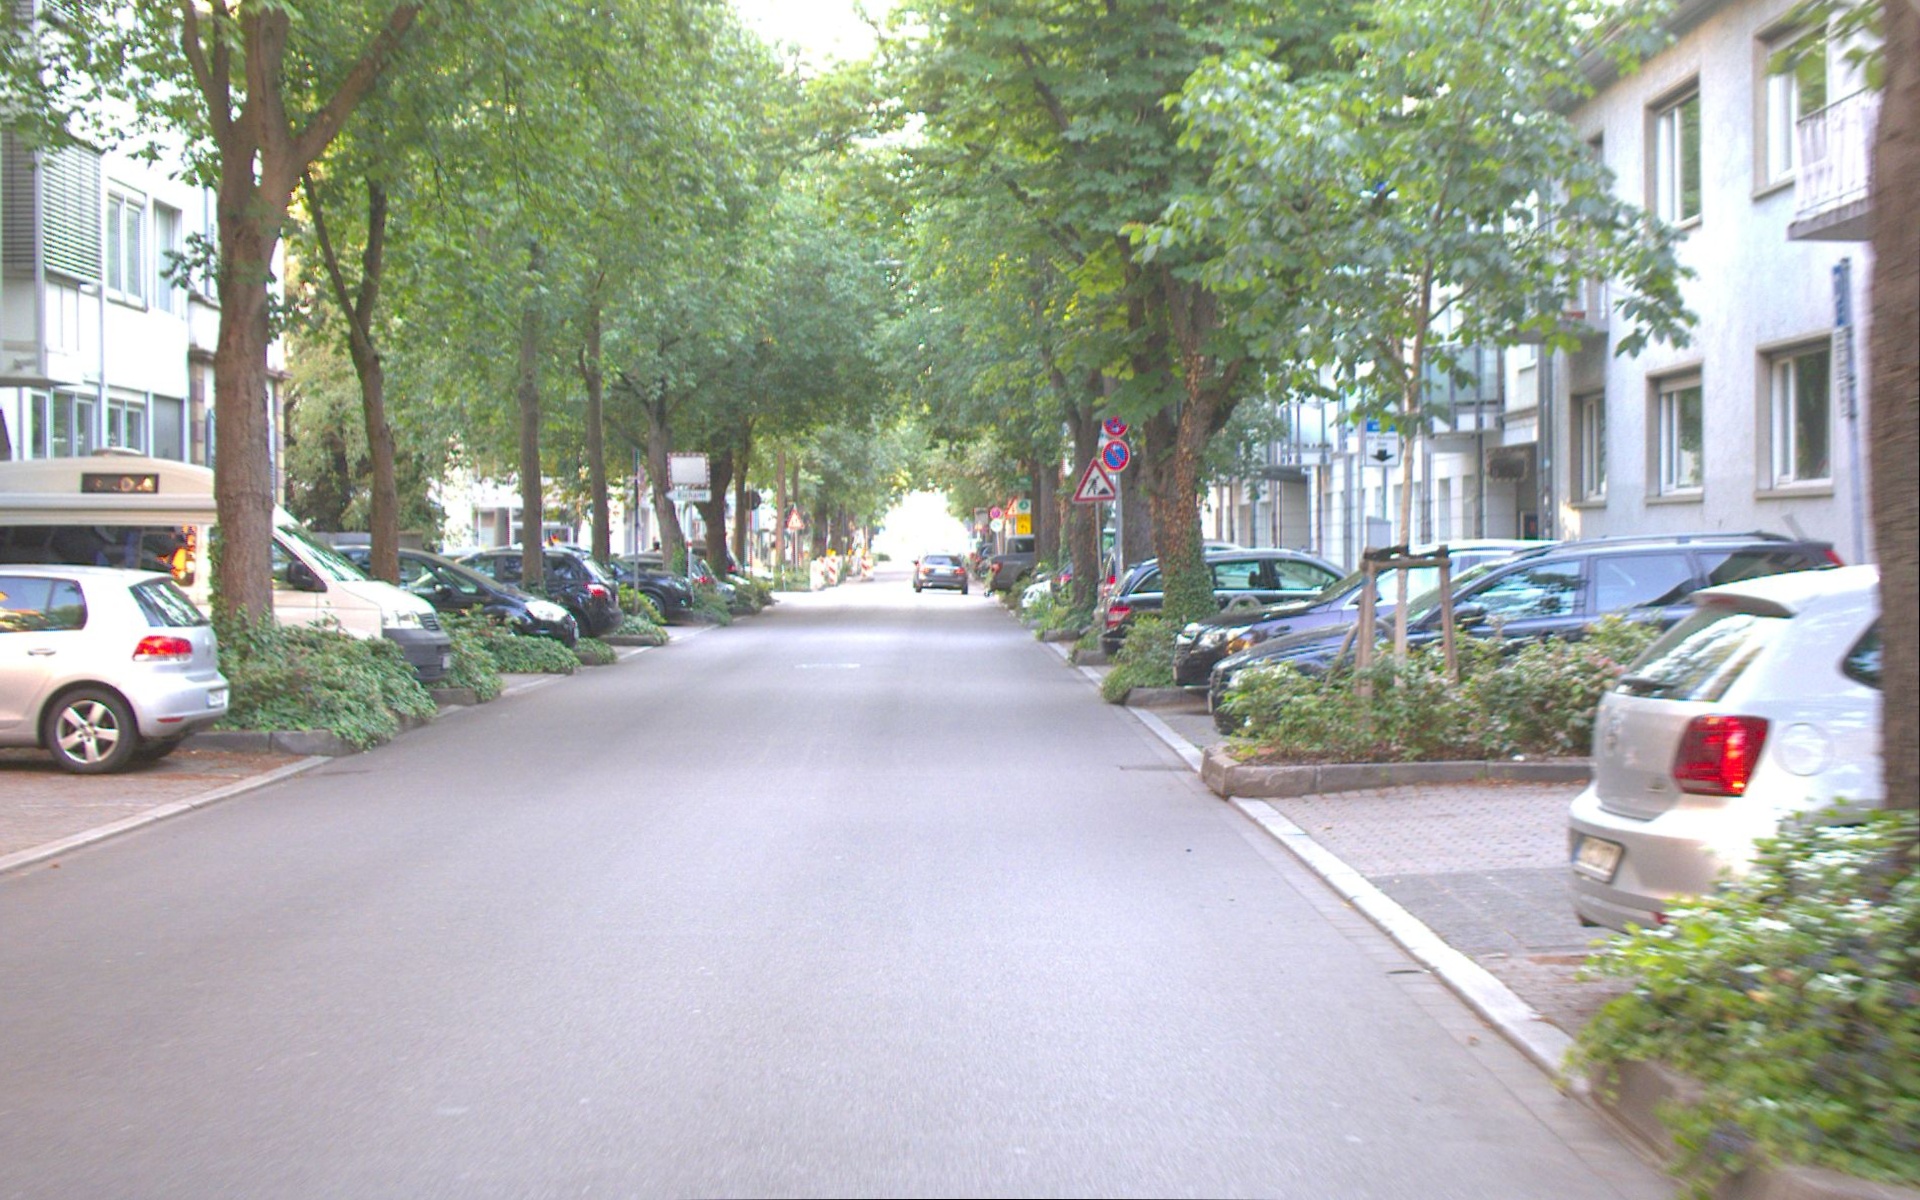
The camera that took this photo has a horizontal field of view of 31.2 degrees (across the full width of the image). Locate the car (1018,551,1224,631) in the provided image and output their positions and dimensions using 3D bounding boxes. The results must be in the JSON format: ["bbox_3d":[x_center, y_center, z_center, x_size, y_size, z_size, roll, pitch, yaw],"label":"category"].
[{"bbox_3d":[3.420,-0.194,73.580,4.268,1.560,1.963,-2,1,0],"label":"car"}]

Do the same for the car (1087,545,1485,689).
[{"bbox_3d":[3.790,0.188,40.449,4.508,1.516,1.995,-2,1,3],"label":"car"}]

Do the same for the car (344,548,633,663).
[{"bbox_3d":[-7.323,0.079,53.732,4.203,1.630,1.963,-2,1,0],"label":"car"}]

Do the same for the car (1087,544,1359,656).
[{"bbox_3d":[4.065,-0.010,53.559,4.050,1.592,1.825,-2,1,0],"label":"car"}]

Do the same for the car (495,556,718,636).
[{"bbox_3d":[-7.905,-0.091,77.201,4.762,1.624,1.963,-2,1,0],"label":"car"}]

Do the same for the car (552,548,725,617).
[{"bbox_3d":[-7.756,-0.431,83.177,3.987,1.505,1.800,-2,1,0],"label":"car"}]

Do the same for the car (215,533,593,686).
[{"bbox_3d":[-7.389,0.114,46.007,4.682,1.848,1.963,-2,1,0],"label":"car"}]

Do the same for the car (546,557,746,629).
[{"bbox_3d":[-7.789,-0.186,85.656,4.762,1.624,1.963,-2,1,0],"label":"car"}]

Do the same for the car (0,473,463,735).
[{"bbox_3d":[-7.334,0.026,33.546,4.682,2.469,2.000,0,1,0],"label":"car"}]

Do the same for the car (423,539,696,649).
[{"bbox_3d":[-7.114,-0.117,61.424,4.595,1.801,1.963,-2,1,0],"label":"car"}]

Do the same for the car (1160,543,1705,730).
[{"bbox_3d":[4.259,0.311,31.537,4.682,1.516,1.963,-2,1,0],"label":"car"}]

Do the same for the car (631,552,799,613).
[{"bbox_3d":[-7.191,-0.514,101.330,4.762,1.624,1.963,-2,1,0],"label":"car"}]

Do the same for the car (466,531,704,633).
[{"bbox_3d":[-7.915,-0.388,72.877,4.762,1.977,1.963,-2,1,0],"label":"car"}]

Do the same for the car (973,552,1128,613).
[{"bbox_3d":[2.520,-0.494,96.658,4.268,1.560,1.963,-2,1,0],"label":"car"}]

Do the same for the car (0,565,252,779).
[{"bbox_3d":[-7.331,0.489,25.233,3.871,1.481,1.757,1,1,2],"label":"car"}]

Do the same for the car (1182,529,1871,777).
[{"bbox_3d":[4.014,0.348,25.009,4.718,1.704,1.950,0,2,2],"label":"car"}]

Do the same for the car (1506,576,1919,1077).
[{"bbox_3d":[3.928,0.638,11.303,3.876,1.435,1.848,-2,1,-3],"label":"car"}]

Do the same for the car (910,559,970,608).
[{"bbox_3d":[-0.663,-0.581,117.033,1.956,1.560,4.282,-2,1,0],"label":"car"}]
